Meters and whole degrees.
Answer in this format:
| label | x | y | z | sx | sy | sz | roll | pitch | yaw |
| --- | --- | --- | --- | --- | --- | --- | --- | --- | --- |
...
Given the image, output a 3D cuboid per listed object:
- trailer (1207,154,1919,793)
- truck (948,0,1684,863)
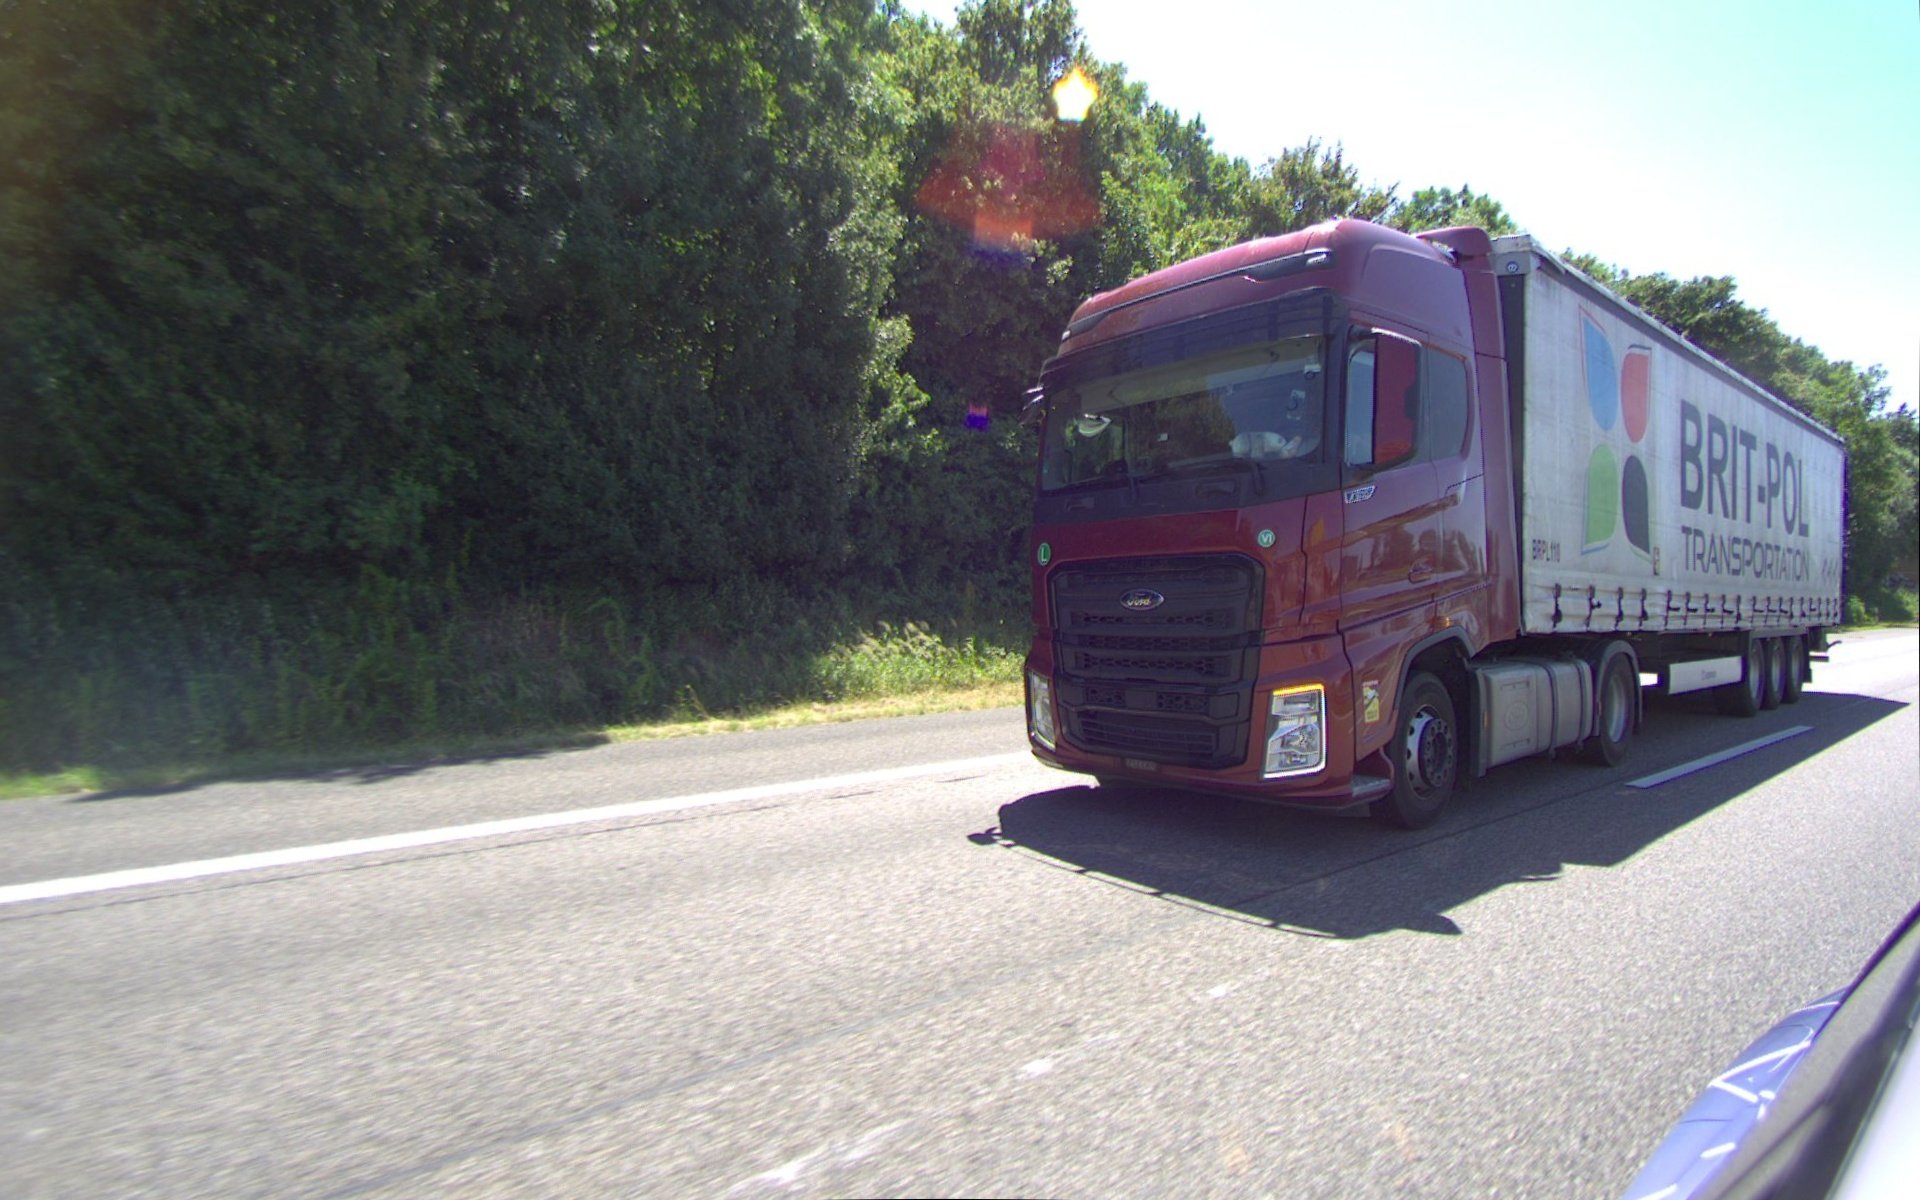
| label | x | y | z | sx | sy | sz | roll | pitch | yaw |
| --- | --- | --- | --- | --- | --- | --- | --- | --- | --- |
| trailer | 9.017 | -0.980 | 13.072 | 14.627 | 4.563 | 3.113 | -1 | 1 | -39 |
| truck | 3.168 | -0.950 | 8.295 | 5.945 | 4.496 | 3.094 | -1 | 1 | -39 |
